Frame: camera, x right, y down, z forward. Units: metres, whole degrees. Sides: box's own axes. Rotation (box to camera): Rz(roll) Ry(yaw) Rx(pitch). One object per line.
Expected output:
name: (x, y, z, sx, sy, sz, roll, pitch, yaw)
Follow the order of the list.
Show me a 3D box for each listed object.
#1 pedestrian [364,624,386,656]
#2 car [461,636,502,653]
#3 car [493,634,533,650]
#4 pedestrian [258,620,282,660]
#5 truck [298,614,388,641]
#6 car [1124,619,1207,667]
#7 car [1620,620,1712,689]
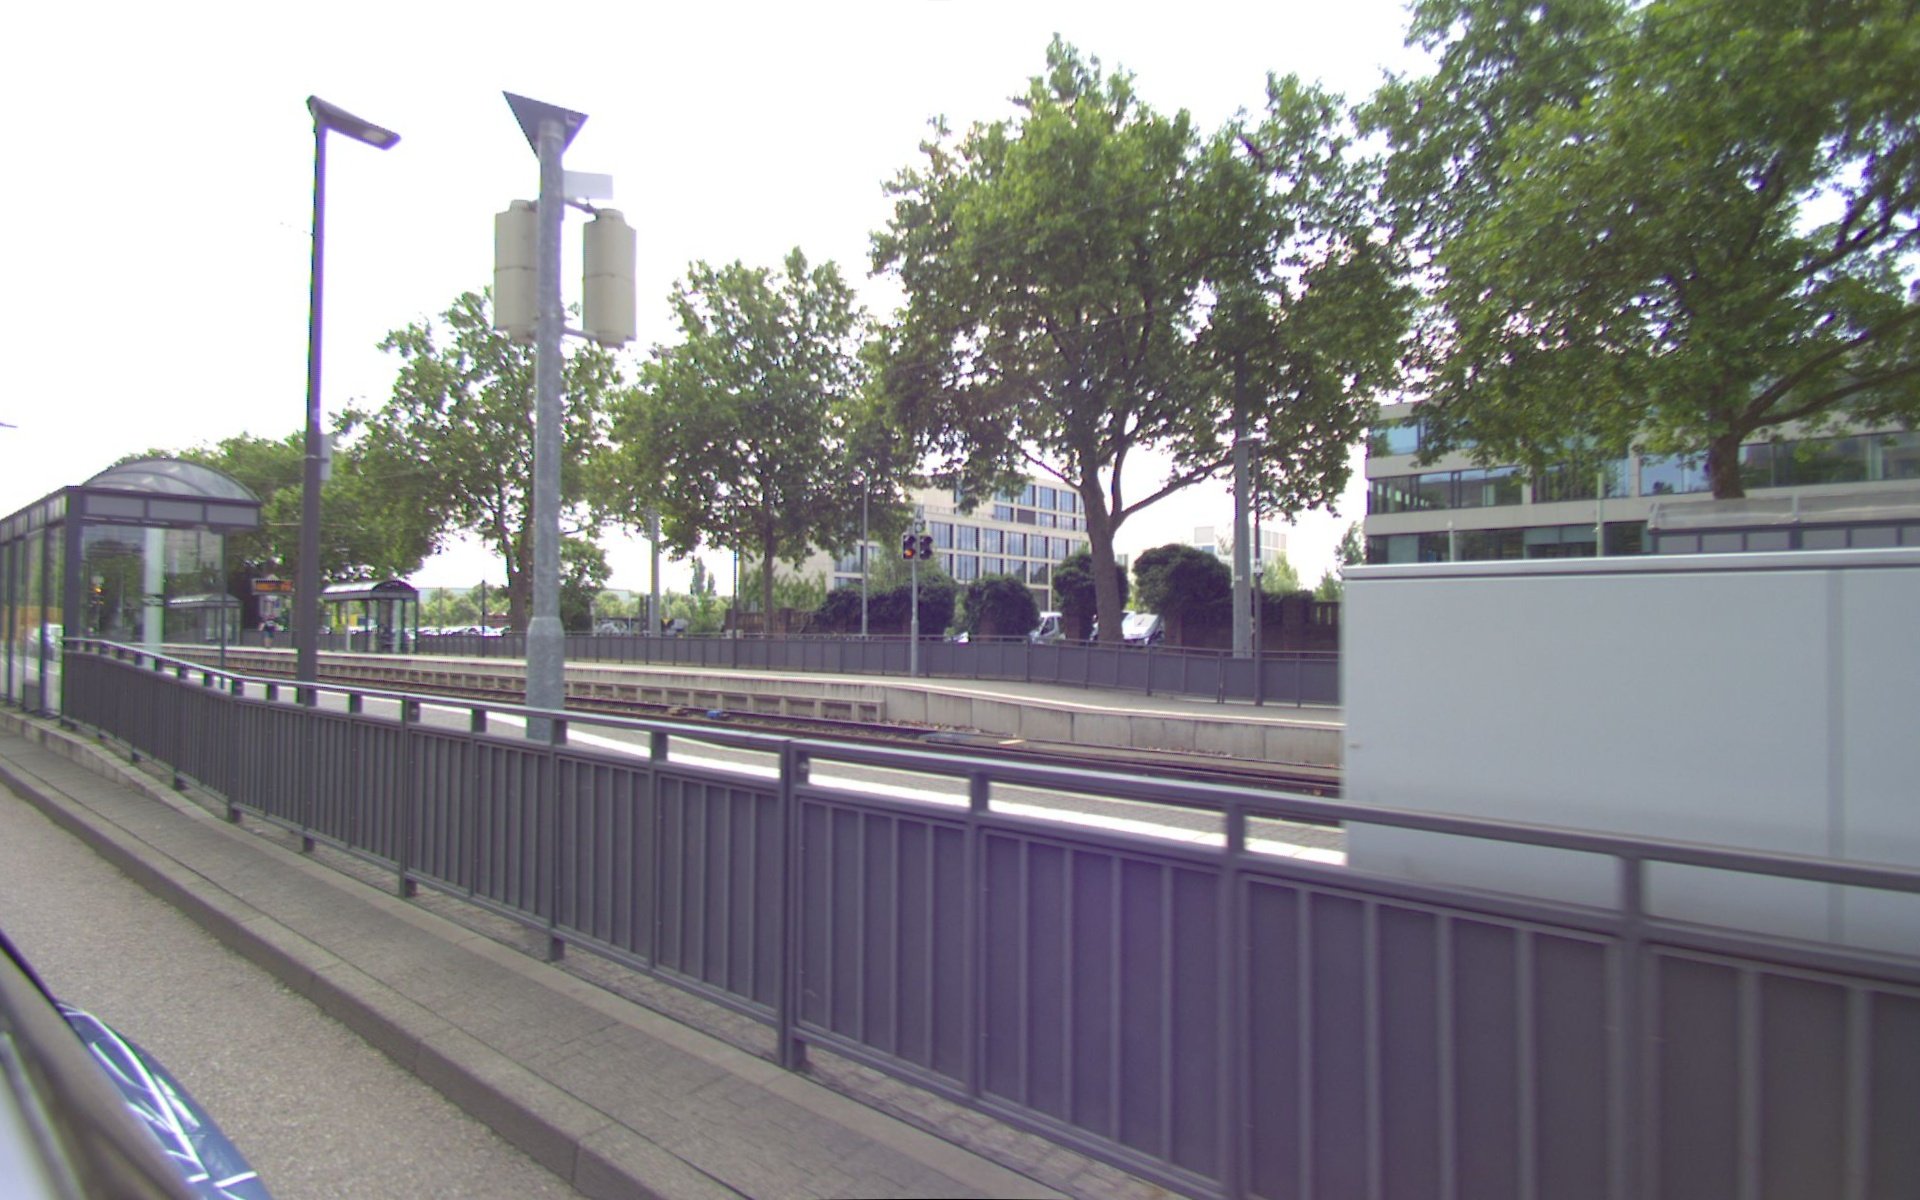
pedestrian: (-24.126, 1.643, 41.729, 0.767, 1.279, 0.547, -2, -3, 42)
car: (-42.172, 3.948, 89.146, 3.997, 1.487, 1.779, -2, -3, 40)
car: (-40.383, 3.797, 91.367, 3.997, 1.487, 1.779, -2, -3, 40)
pedestrian: (-32.442, 1.858, 47.584, 0.863, 1.859, 0.699, -1, -3, 38)
truck: (-105.251, 4.716, 172.923, 2.747, 4.105, 12.651, -2, -4, 42)
car: (9.251, 1.966, 45.412, 1.958, 2.049, 4.095, -1, -4, 40)
car: (22.264, 1.743, 31.843, 1.935, 2.004, 4.776, -1, -4, 40)
